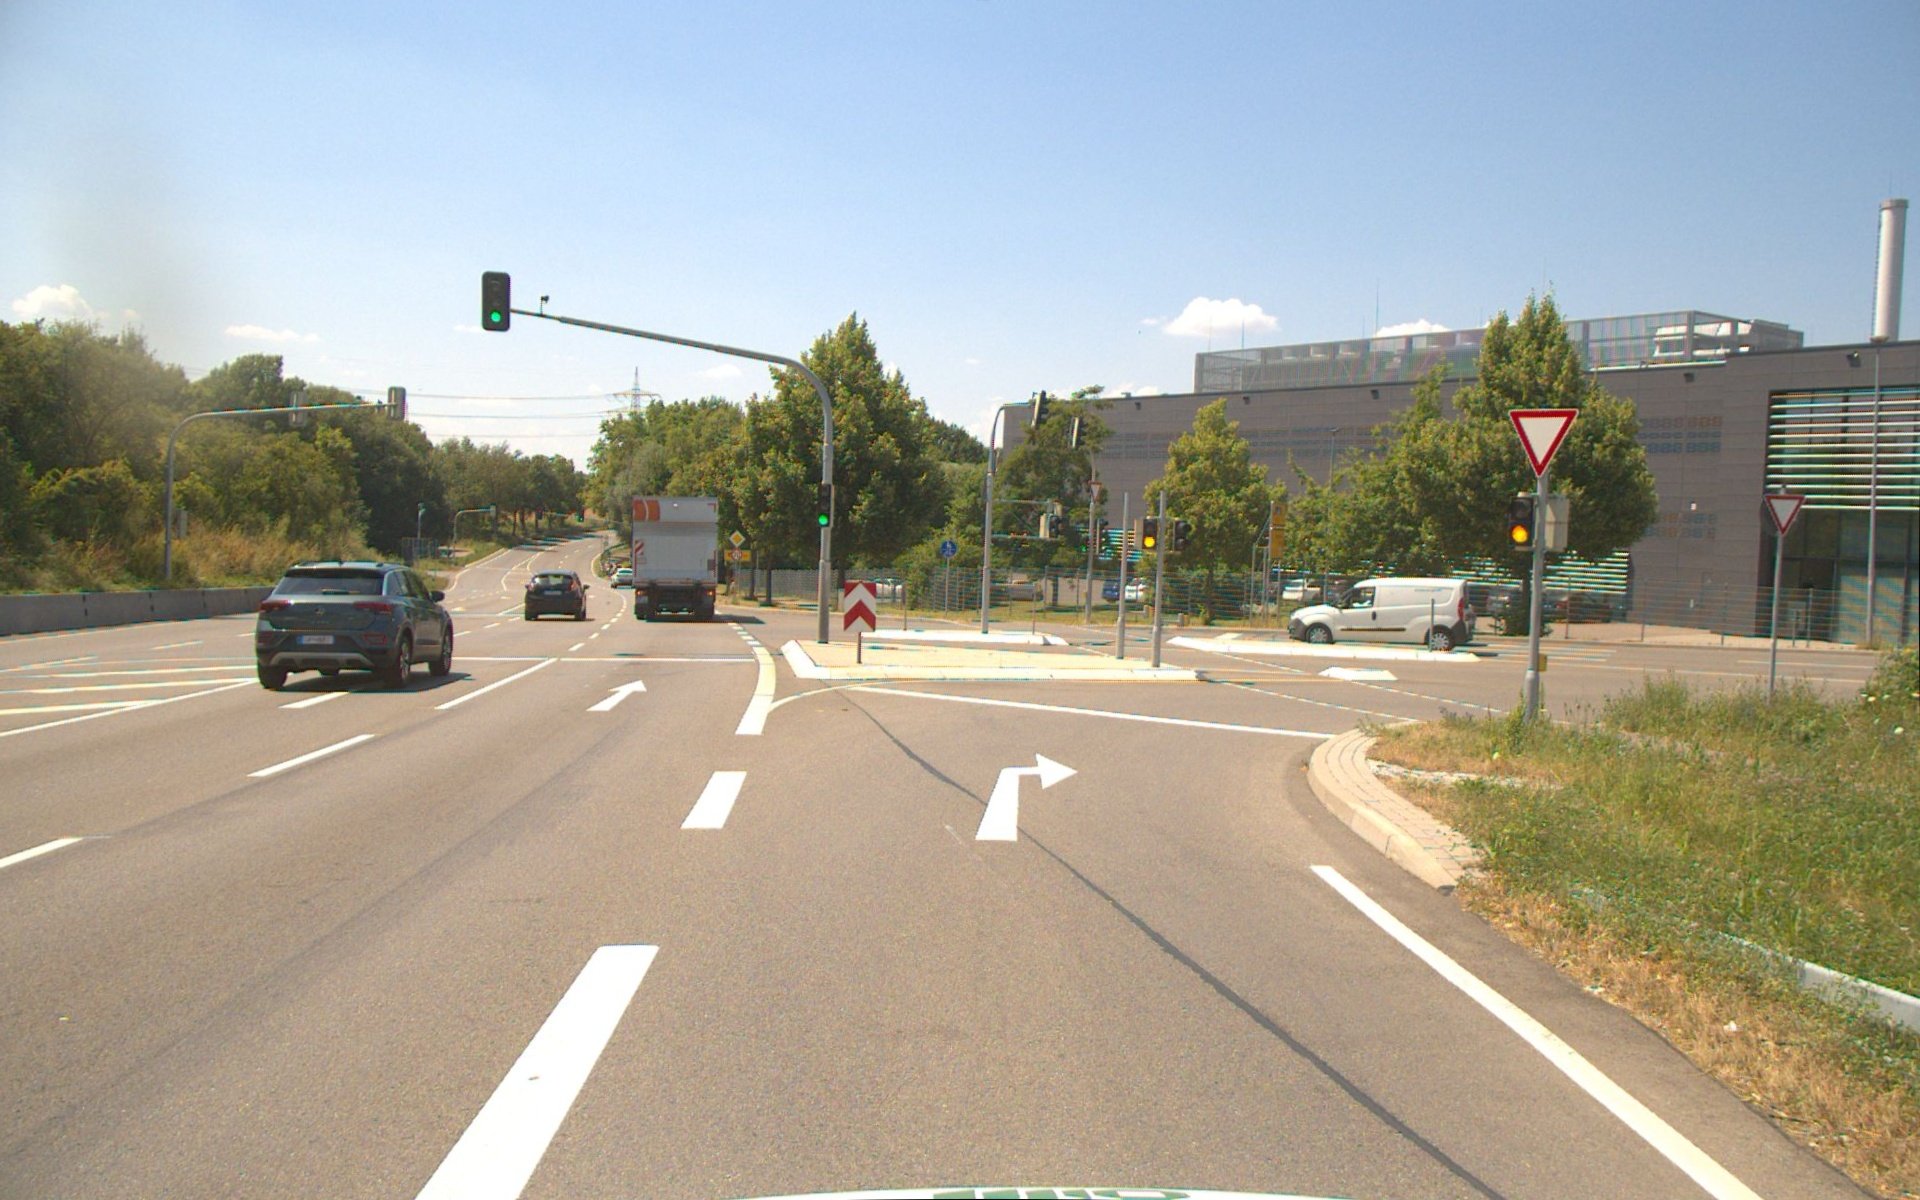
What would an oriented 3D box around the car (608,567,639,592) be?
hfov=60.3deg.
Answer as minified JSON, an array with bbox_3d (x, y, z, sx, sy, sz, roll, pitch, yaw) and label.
[{"bbox_3d":[-25.959,-1.601,127.529,1.913,1.693,3.983,4,1,-17],"label":"car"}]

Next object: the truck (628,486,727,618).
[{"bbox_3d":[-9.117,-1.545,52.770,2.753,3.775,9.084,1,2,-11],"label":"truck"}]

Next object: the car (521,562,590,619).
[{"bbox_3d":[-12.257,-0.325,50.320,1.622,1.519,4.200,1,2,-9],"label":"car"}]

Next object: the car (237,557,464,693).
[{"bbox_3d":[-7.937,0.267,21.972,1.799,1.614,4.385,1,1,-6],"label":"car"}]

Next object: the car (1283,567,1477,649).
[{"bbox_3d":[10.934,0.180,42.974,4.647,1.965,2.154,1,1,21],"label":"car"}]
